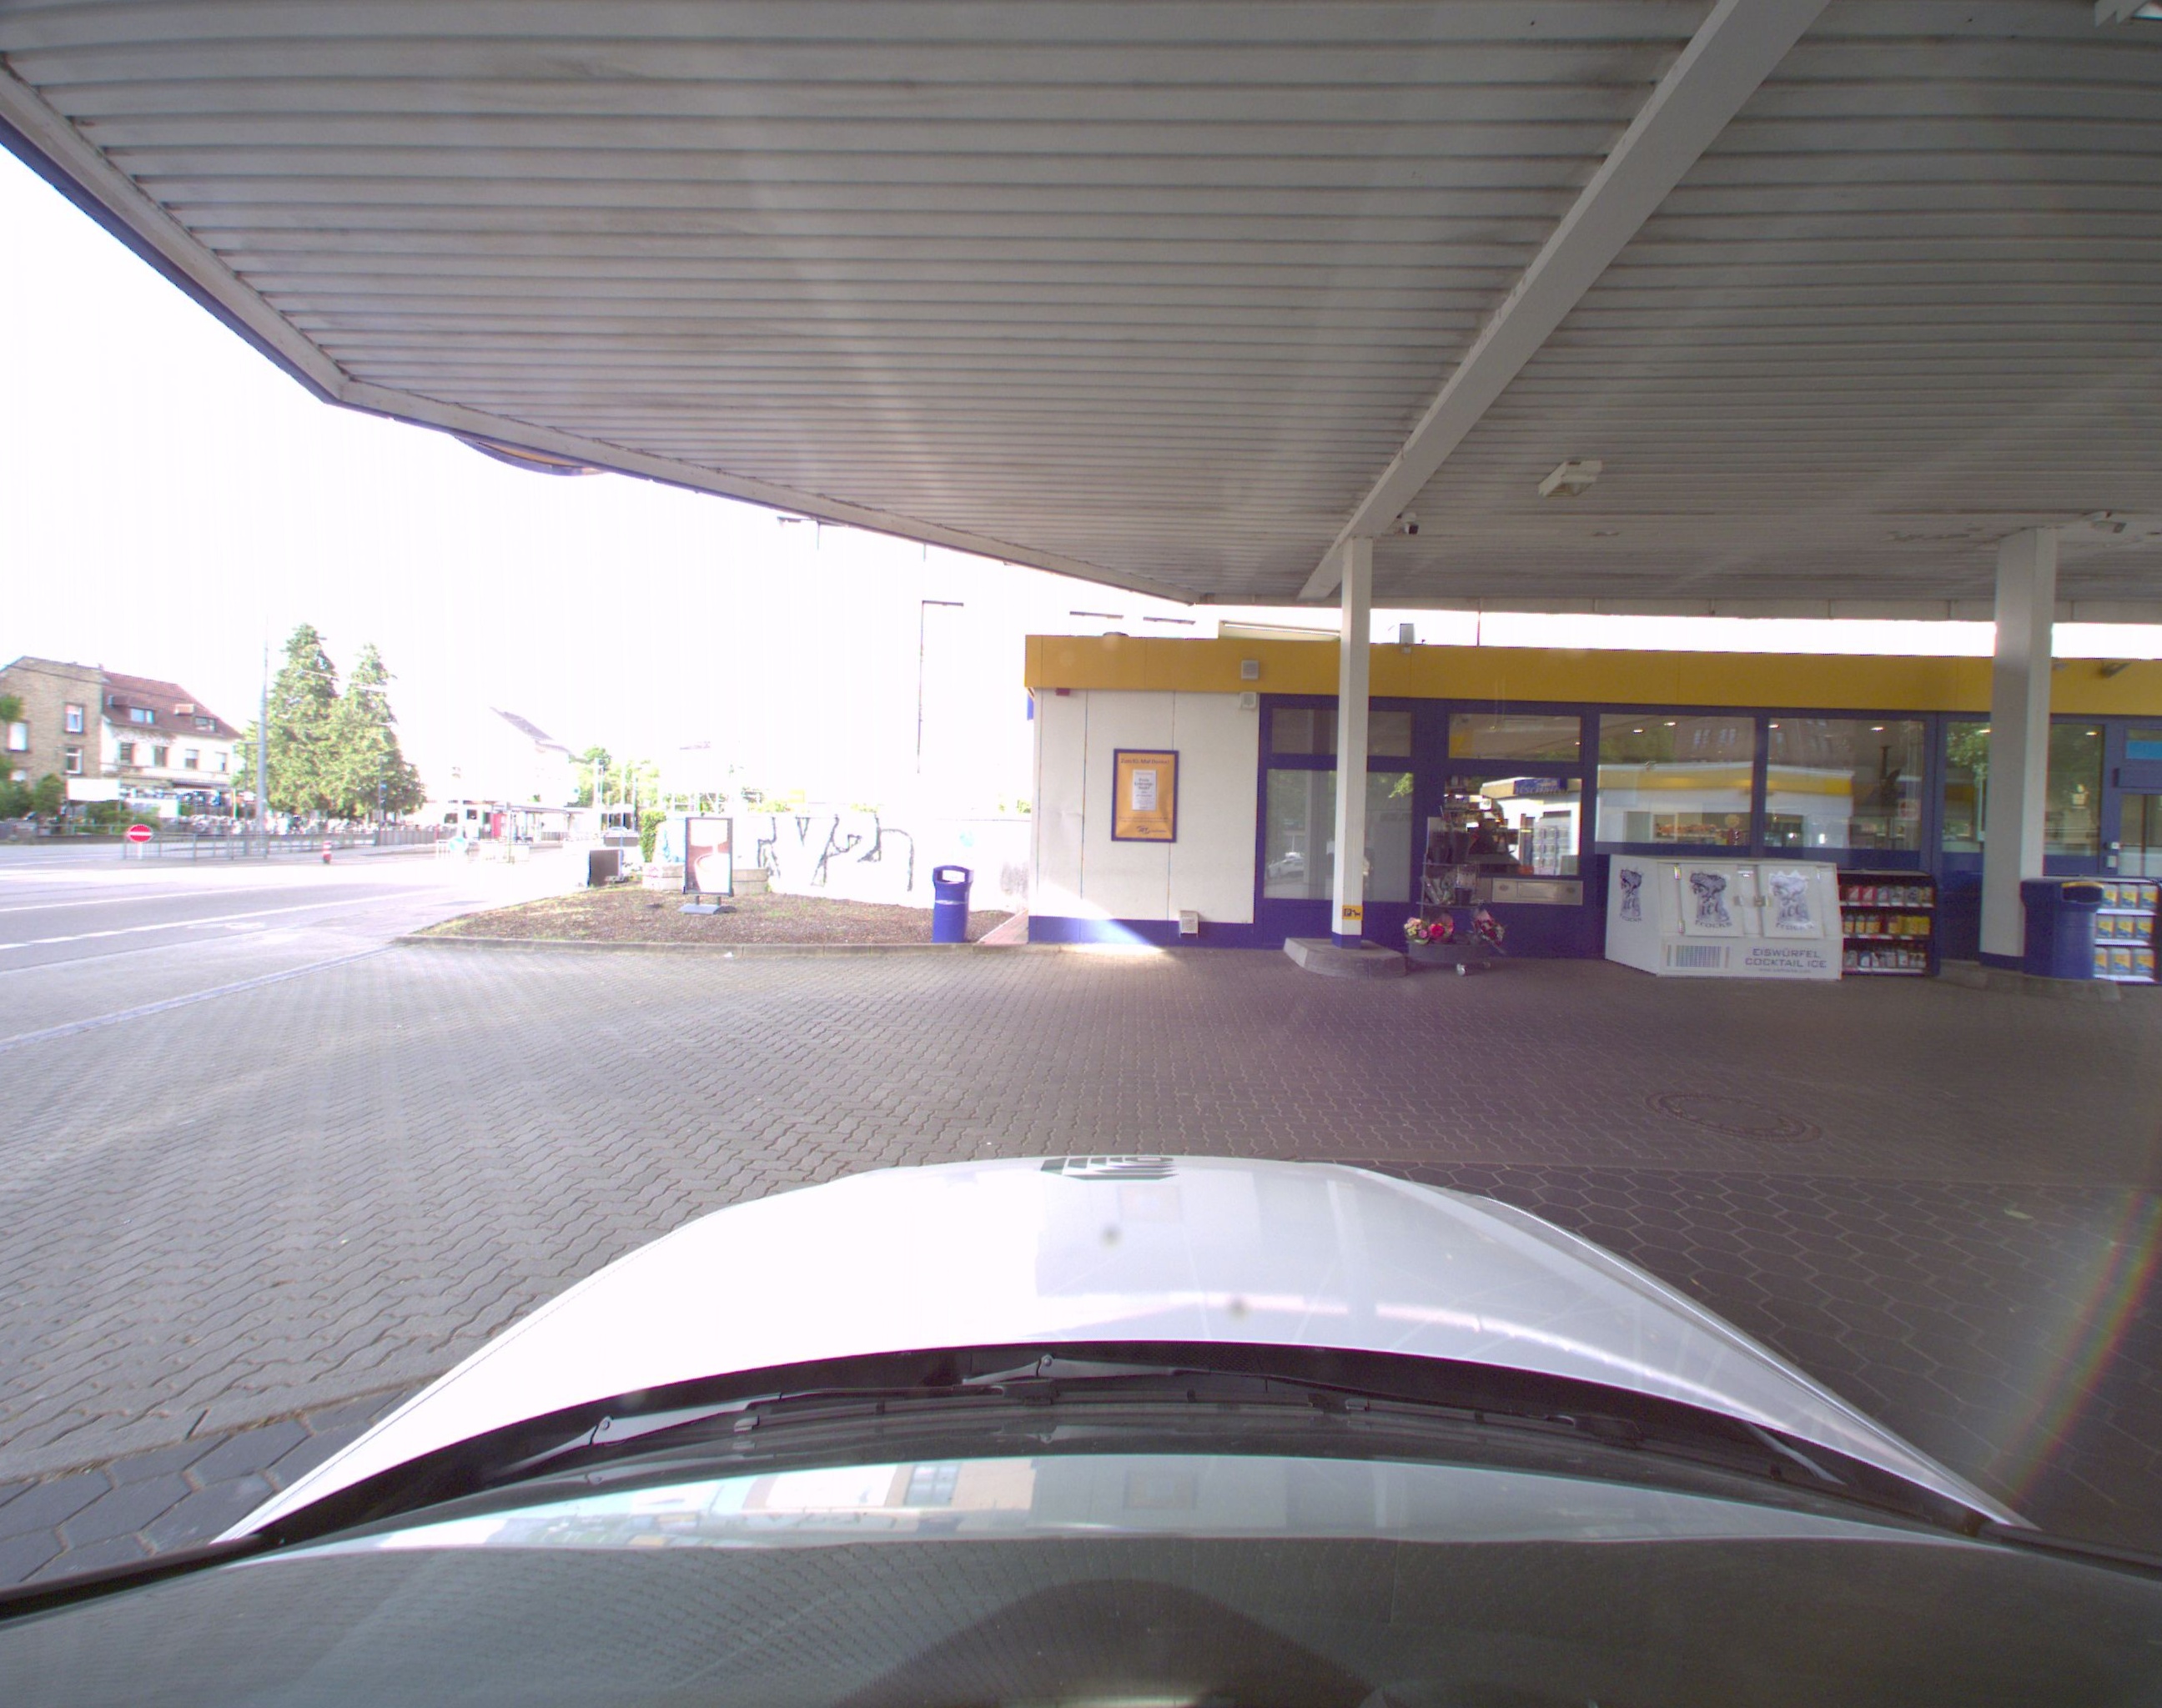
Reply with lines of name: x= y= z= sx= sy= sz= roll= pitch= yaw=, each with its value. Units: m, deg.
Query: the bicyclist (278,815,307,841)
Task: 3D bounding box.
bicyclist: x=-46.008 y=-1.517 z=47.523 sx=0.751 sy=1.409 sz=0.916 roll=5 pitch=0 yaw=-17

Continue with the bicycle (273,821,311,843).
bicycle: x=-46.005 y=-1.271 z=47.490 sx=0.751 sy=1.203 sz=1.811 roll=5 pitch=0 yaw=-17
